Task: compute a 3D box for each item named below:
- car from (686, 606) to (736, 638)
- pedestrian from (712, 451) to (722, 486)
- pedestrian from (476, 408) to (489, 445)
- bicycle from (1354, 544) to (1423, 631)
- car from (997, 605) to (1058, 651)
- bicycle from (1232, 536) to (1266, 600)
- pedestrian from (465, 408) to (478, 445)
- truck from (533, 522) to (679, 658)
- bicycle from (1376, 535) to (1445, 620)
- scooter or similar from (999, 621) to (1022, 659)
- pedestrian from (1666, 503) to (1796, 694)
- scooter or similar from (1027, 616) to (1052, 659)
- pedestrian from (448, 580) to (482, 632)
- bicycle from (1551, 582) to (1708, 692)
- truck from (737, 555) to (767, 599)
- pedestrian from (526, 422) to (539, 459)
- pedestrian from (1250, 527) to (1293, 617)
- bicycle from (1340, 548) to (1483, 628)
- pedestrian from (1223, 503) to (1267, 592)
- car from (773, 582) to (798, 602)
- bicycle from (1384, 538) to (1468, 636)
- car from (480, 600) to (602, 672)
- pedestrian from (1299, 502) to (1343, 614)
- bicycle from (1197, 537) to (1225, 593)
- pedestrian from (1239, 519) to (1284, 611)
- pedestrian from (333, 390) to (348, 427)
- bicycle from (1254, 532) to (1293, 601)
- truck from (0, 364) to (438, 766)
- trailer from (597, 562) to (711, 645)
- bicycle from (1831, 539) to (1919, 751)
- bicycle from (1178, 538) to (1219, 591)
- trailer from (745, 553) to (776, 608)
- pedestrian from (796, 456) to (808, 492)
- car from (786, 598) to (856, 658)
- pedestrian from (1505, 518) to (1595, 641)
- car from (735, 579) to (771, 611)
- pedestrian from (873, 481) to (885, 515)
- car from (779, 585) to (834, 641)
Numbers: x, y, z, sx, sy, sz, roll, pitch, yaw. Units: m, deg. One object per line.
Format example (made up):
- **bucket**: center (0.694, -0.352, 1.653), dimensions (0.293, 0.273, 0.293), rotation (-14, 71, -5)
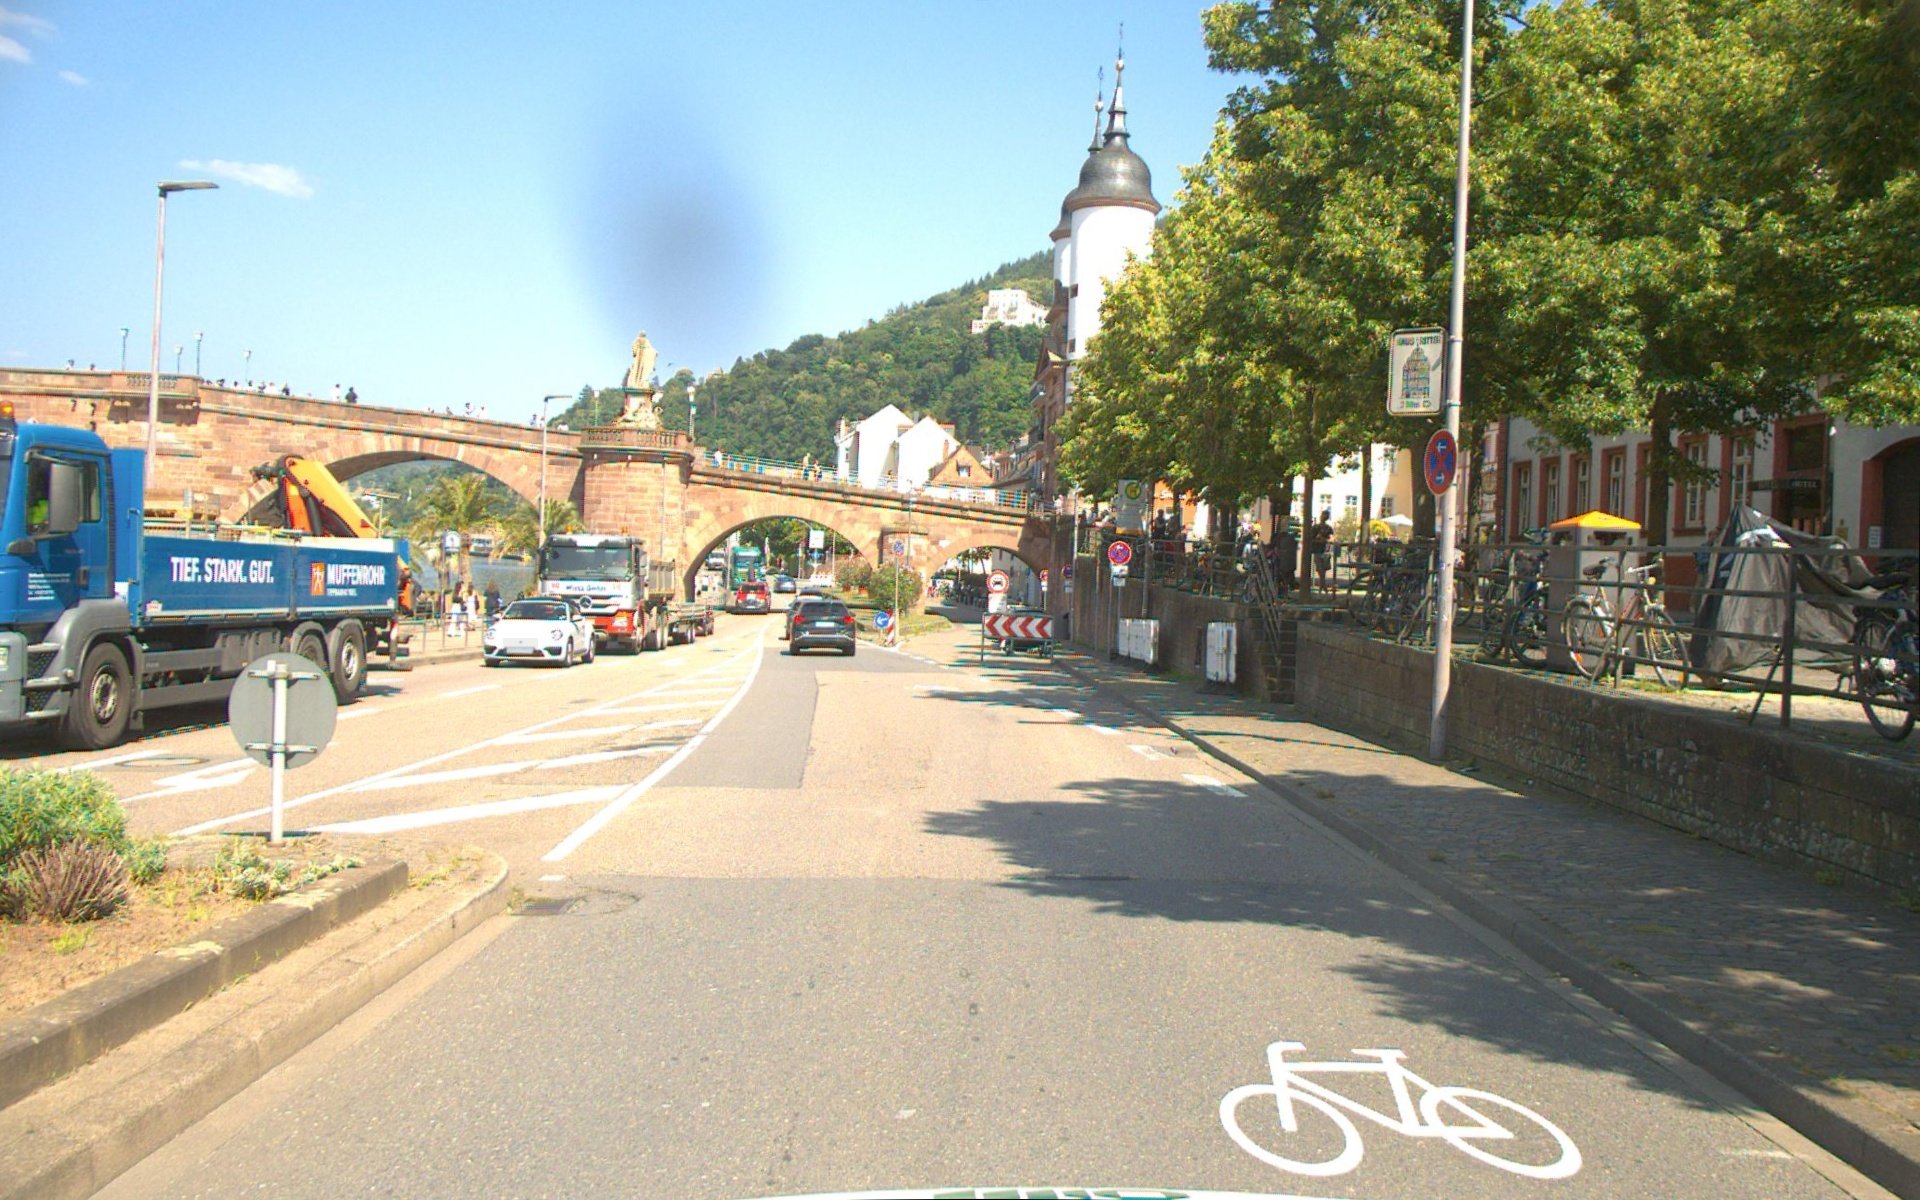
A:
- **car**: center (-9.825, 0.853, 65.433), dimensions (1.638, 1.215, 3.626), rotation (0, 0, -4)
- **pedestrian**: center (-14.678, -7.937, 99.908), dimensions (0.570, 2.049, 0.586), rotation (1, 0, -4)
- **pedestrian**: center (-27.516, -9.973, 95.281), dimensions (0.612, 2.049, 0.693), rotation (1, 0, -12)
- **bicycle**: center (5.276, -0.162, 20.440), dimensions (0.292, 1.022, 1.859), rotation (1, 1, -2)
- **car**: center (2.279, 0.932, 57.158), dimensions (1.805, 1.475, 4.533), rotation (2, 0, -1)
- **bicycle**: center (5.226, -0.566, 29.942), dimensions (0.401, 1.125, 1.735), rotation (1, 0, 3)
- **pedestrian**: center (-28.092, -9.982, 95.063), dimensions (0.612, 2.049, 0.693), rotation (1, 0, -12)
- **truck**: center (-9.797, -0.252, 46.602), dimensions (2.588, 3.517, 7.869), rotation (0, 0, -1)
- **bicycle**: center (6.421, -0.329, 23.657), dimensions (0.374, 1.160, 1.933), rotation (1, 1, -2)
- **scooter or similar**: center (1.490, 1.180, 49.029), dimensions (0.520, 1.109, 1.440), rotation (1, 0, 8)
- **pedestrian**: center (6.003, -0.012, 12.909), dimensions (0.654, 1.440, 0.696), rotation (1, 0, -2)
- **scooter or similar**: center (2.385, 1.109, 49.510), dimensions (0.520, 1.252, 1.272), rotation (1, 0, 12)
- **pedestrian**: center (-16.675, 0.190, 55.755), dimensions (0.789, 1.721, 0.833), rotation (1, 1, -42)
- **bicycle**: center (5.242, 0.258, 13.058), dimensions (0.343, 0.797, 1.918), rotation (1, 1, -3)
- **truck**: center (-18.377, -2.093, 146.584), dimensions (2.475, 3.813, 6.239), rotation (0, 2, -6)
- **pedestrian**: center (-24.665, -9.174, 95.439), dimensions (0.612, 2.049, 0.693), rotation (1, 0, -12)
- **pedestrian**: center (6.100, -0.544, 32.377), dimensions (0.704, 1.751, 0.573), rotation (1, 0, -1)
- **bicycle**: center (5.989, -0.157, 21.930), dimensions (1.817, 1.022, 0.299), rotation (1, 1, -4)
- **pedestrian**: center (5.676, -1.035, 32.983), dimensions (0.704, 1.751, 0.711), rotation (1, 0, -1)
- **car**: center (-15.066, -0.684, 142.770), dimensions (1.822, 1.691, 3.989), rotation (0, 0, -11)
- **bicycle**: center (5.136, -0.154, 18.298), dimensions (0.292, 1.022, 1.940), rotation (1, 1, -2)
- **car**: center (-9.226, 0.758, 36.685), dimensions (1.741, 1.469, 3.996), rotation (1, 0, -1)
- **pedestrian**: center (7.287, -0.835, 33.410), dimensions (0.704, 2.227, 0.711), rotation (1, 0, -1)
- **bicycle**: center (5.167, -0.711, 34.094), dimensions (0.401, 1.125, 1.735), rotation (1, 0, 3)
- **pedestrian**: center (5.783, -0.667, 31.742), dimensions (0.704, 1.751, 0.573), rotation (1, 0, -1)
- **pedestrian**: center (-35.235, -10.879, 94.062), dimensions (0.680, 2.049, 0.624), rotation (1, 0, -8)
- **bicycle**: center (5.340, -0.554, 28.253), dimensions (0.401, 1.125, 1.925), rotation (1, 0, 3)
- **truck**: center (-9.455, -0.361, 20.140), dimensions (2.588, 3.537, 11.107), rotation (1, 0, 0)
- **trailer**: center (-10.019, 0.118, 54.884), dimensions (2.643, 2.575, 6.945), rotation (0, 0, -1)
- **bicycle**: center (5.303, 0.243, 8.854), dimensions (0.337, 1.132, 1.920), rotation (1, 0, 3)
- **bicycle**: center (5.196, -0.755, 36.071), dimensions (0.402, 1.125, 1.731), rotation (1, 0, -8)
- **trailer**: center (-12.489, -1.222, 103.897), dimensions (1.707, 3.378, 3.382), rotation (0, 0, -3)
- **pedestrian**: center (-9.229, -7.329, 96.564), dimensions (0.611, 2.049, 0.695), rotation (1, 0, -4)
- **car**: center (-3.828, 0.734, 46.042), dimensions (1.820, 1.550, 3.997), rotation (1, 0, -4)
- **pedestrian**: center (6.366, -0.218, 17.873), dimensions (0.681, 1.287, 0.669), rotation (1, 0, -5)
- **car**: center (-12.313, -0.300, 98.398), dimensions (1.837, 1.859, 4.541), rotation (0, 1, -4)
- **pedestrian**: center (-5.027, -6.326, 102.437), dimensions (0.670, 2.049, 0.586), rotation (1, 0, -4)
- **car**: center (-5.856, 0.480, 63.476), dimensions (1.954, 2.049, 3.997), rotation (1, 0, -3)
